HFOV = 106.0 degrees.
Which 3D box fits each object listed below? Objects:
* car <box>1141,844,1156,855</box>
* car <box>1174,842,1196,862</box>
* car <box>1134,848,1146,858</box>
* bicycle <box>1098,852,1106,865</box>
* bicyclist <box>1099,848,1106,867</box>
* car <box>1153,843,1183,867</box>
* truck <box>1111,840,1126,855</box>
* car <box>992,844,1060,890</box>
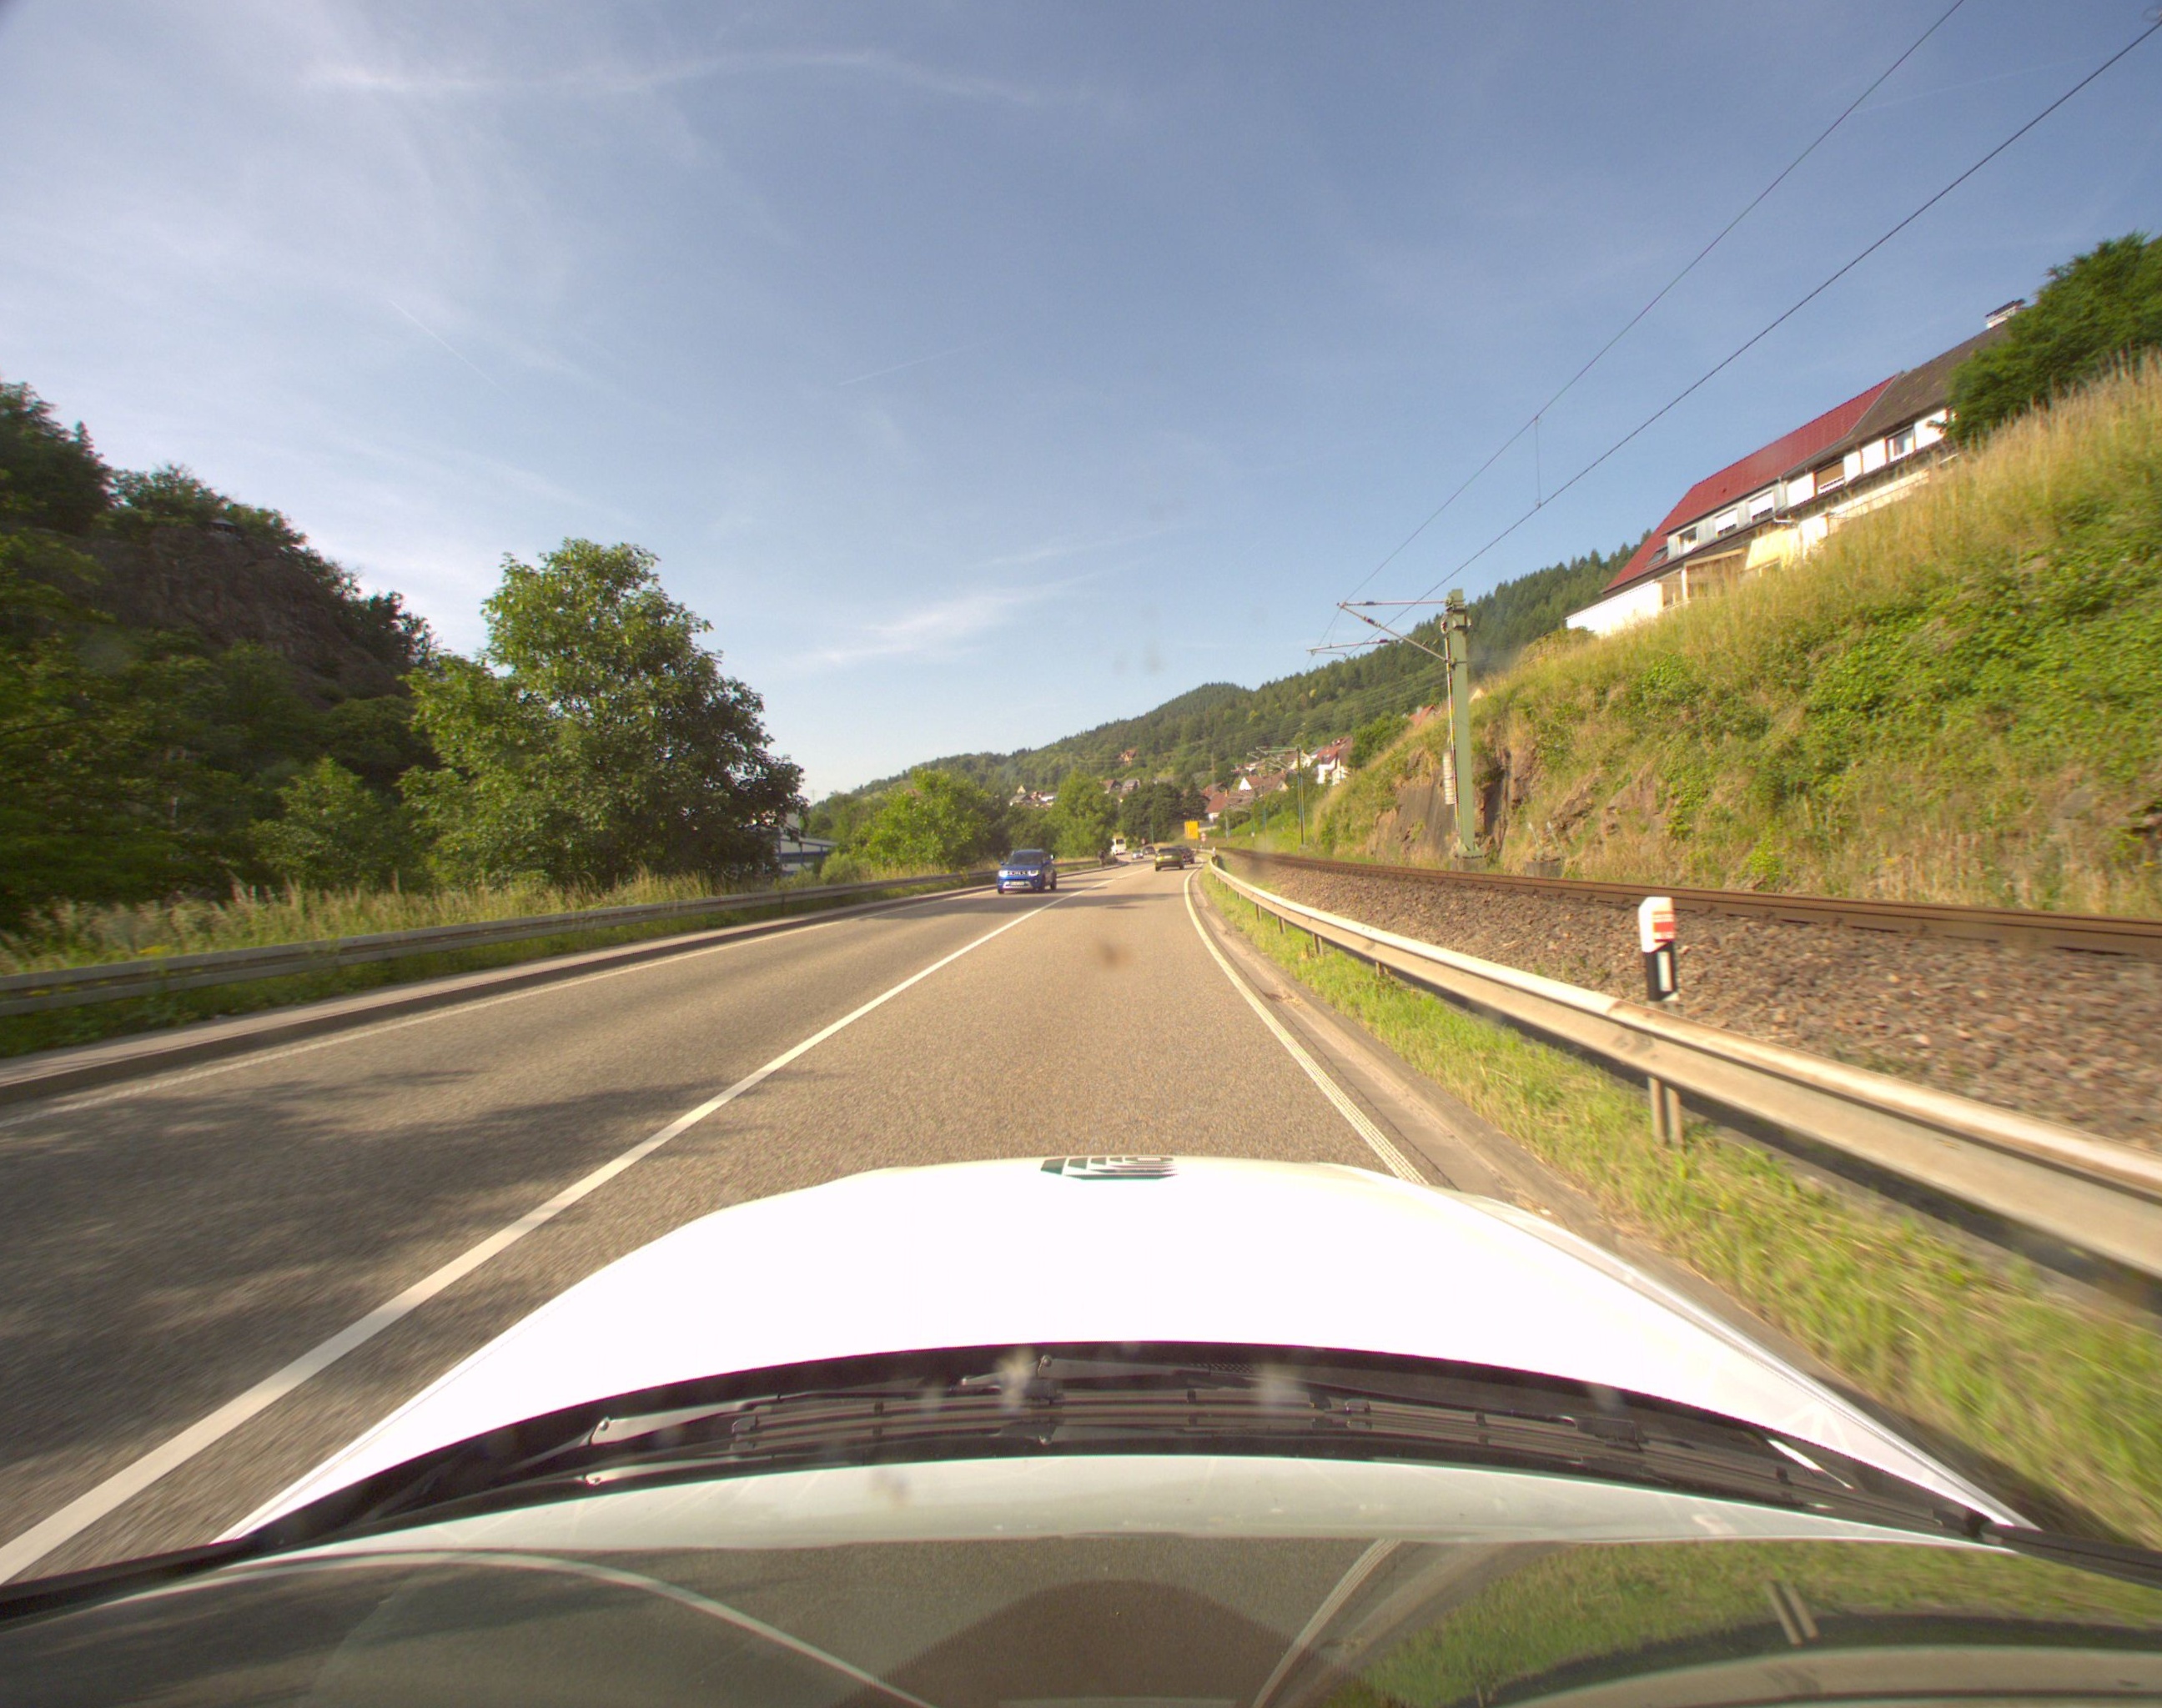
[{"bbox_3d":[12.377,-0.830,149.691,2.058,1.811,3.996,-4,-1,-2],"label":"car"},{"bbox_3d":[8.481,-0.193,66.233,1.657,1.559,4.010,-1,0,9],"label":"car"},{"bbox_3d":[8.970,-0.158,123.808,1.568,1.479,4.010,1,1,9],"label":"car"},{"bbox_3d":[1.851,0.400,71.677,0.556,1.045,2.228,-1,1,-2],"label":"bicycle"},{"bbox_3d":[1.868,0.288,71.635,0.555,1.586,1.035,-1,1,0],"label":"bicyclist"},{"bbox_3d":[5.537,0.055,52.206,1.707,1.455,4.004,-2,0,3],"label":"car"},{"bbox_3d":[8.377,-1.459,182.884,2.707,3.084,6.098,-1,0,-5],"label":"truck"},{"bbox_3d":[-1.967,0.443,30.155,1.742,1.567,4.008,-1,0,7],"label":"car"}]
